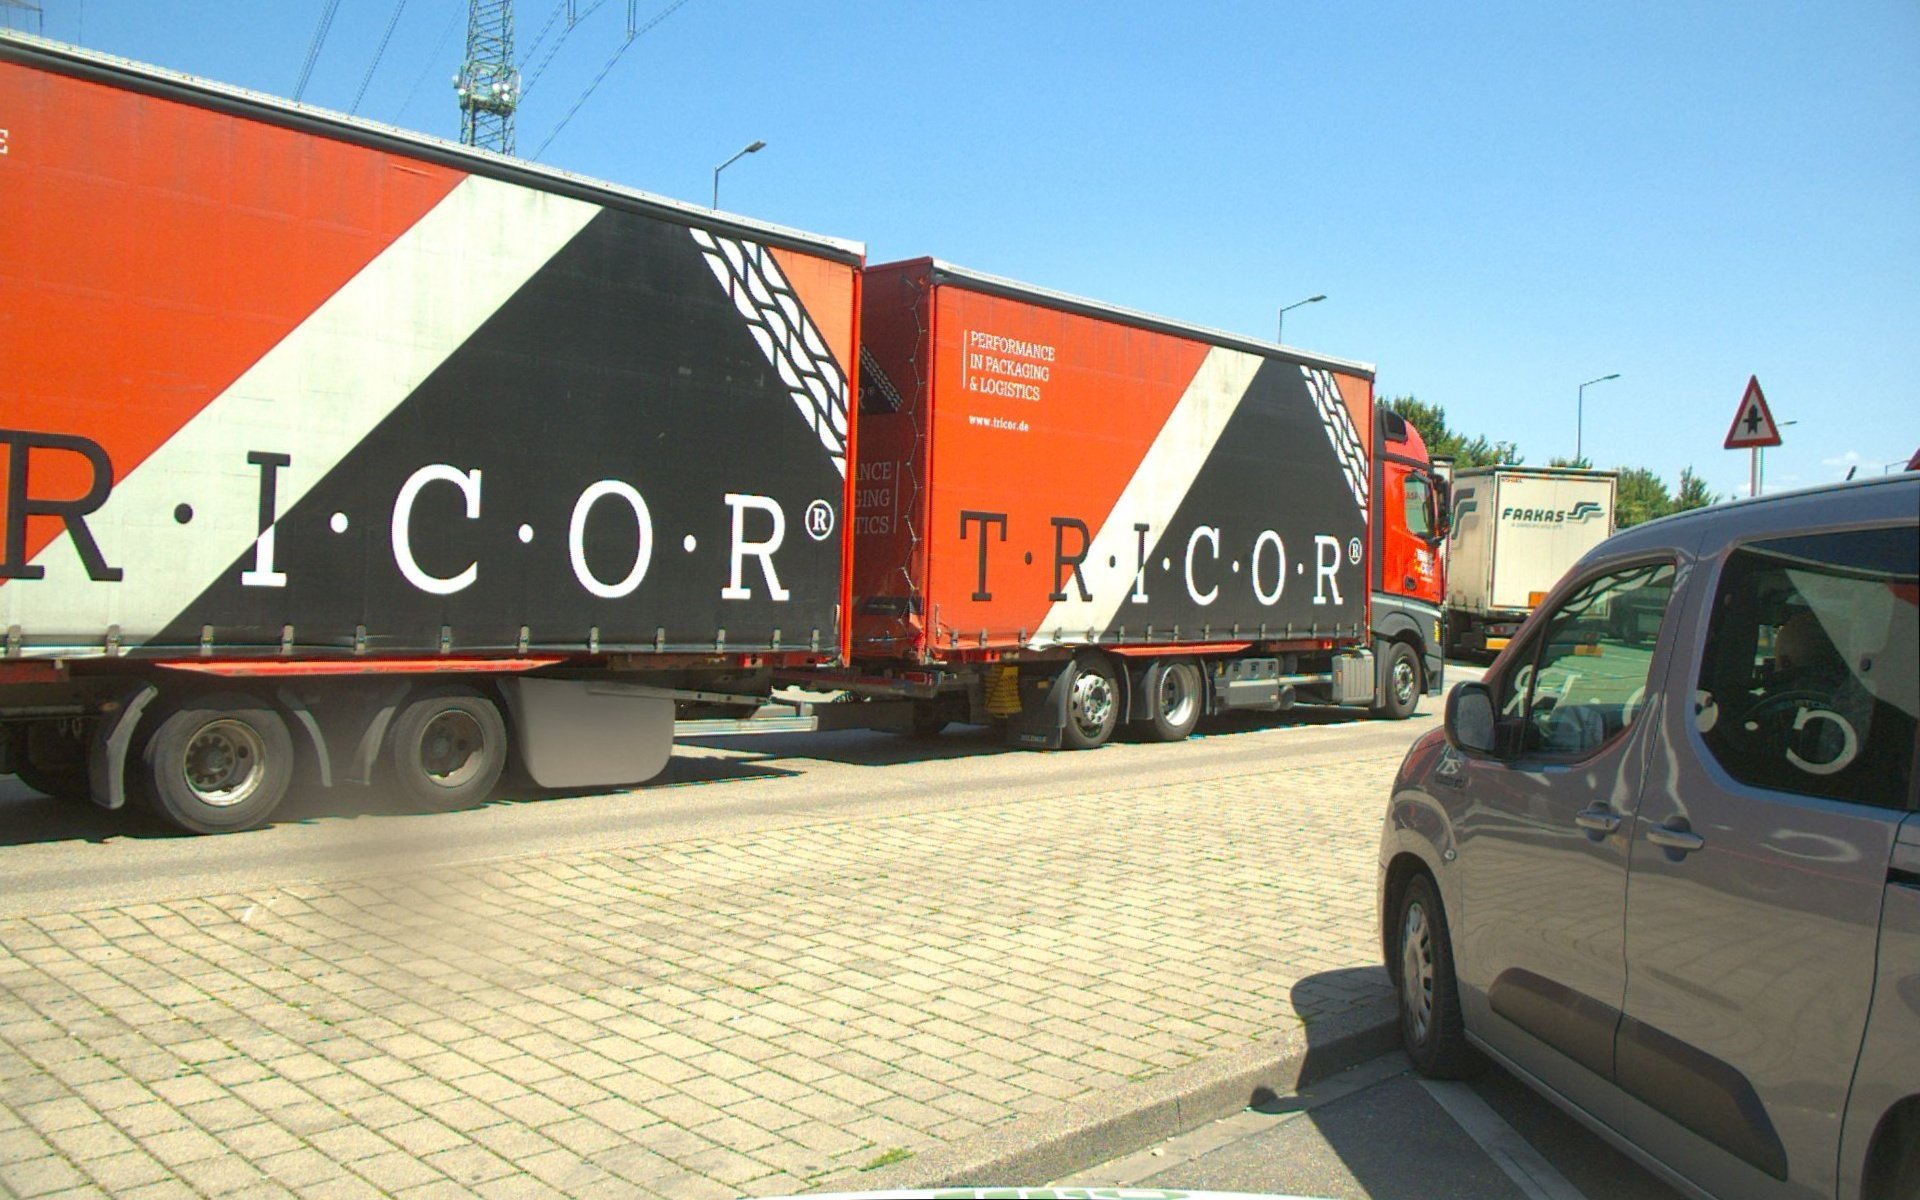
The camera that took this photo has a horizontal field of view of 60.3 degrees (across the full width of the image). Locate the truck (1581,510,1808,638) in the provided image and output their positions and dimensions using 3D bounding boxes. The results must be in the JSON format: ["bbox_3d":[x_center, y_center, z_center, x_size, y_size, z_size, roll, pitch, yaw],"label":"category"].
[{"bbox_3d":[21.972,-0.813,50.157,2.963,3.497,8.529,1,1,-1],"label":"truck"}]

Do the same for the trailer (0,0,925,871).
[{"bbox_3d":[-4.168,-0.886,10.593,2.792,4.332,8.635,1,1,41],"label":"trailer"}]

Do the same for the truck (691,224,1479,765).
[{"bbox_3d":[2.071,-0.866,17.719,2.645,4.199,10.545,1,1,41],"label":"truck"}]

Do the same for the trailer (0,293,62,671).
[{"bbox_3d":[-12.405,-1.304,15.431,2.689,4.337,9.733,1,1,0],"label":"trailer"}]

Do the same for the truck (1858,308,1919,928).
[{"bbox_3d":[4.980,0.127,4.914,1.952,2.669,5.305,1,1,3],"label":"truck"}]

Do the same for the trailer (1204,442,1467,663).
[{"bbox_3d":[8.216,-1.050,38.587,2.818,4.196,13.569,1,1,-1],"label":"trailer"}]

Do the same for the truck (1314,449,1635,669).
[{"bbox_3d":[11.728,-0.958,39.969,2.846,4.195,14.525,3,1,-1],"label":"truck"}]

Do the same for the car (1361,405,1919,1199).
[{"bbox_3d":[2.434,0.556,3.794,1.790,1.784,3.997,1,1,-4],"label":"car"}]
